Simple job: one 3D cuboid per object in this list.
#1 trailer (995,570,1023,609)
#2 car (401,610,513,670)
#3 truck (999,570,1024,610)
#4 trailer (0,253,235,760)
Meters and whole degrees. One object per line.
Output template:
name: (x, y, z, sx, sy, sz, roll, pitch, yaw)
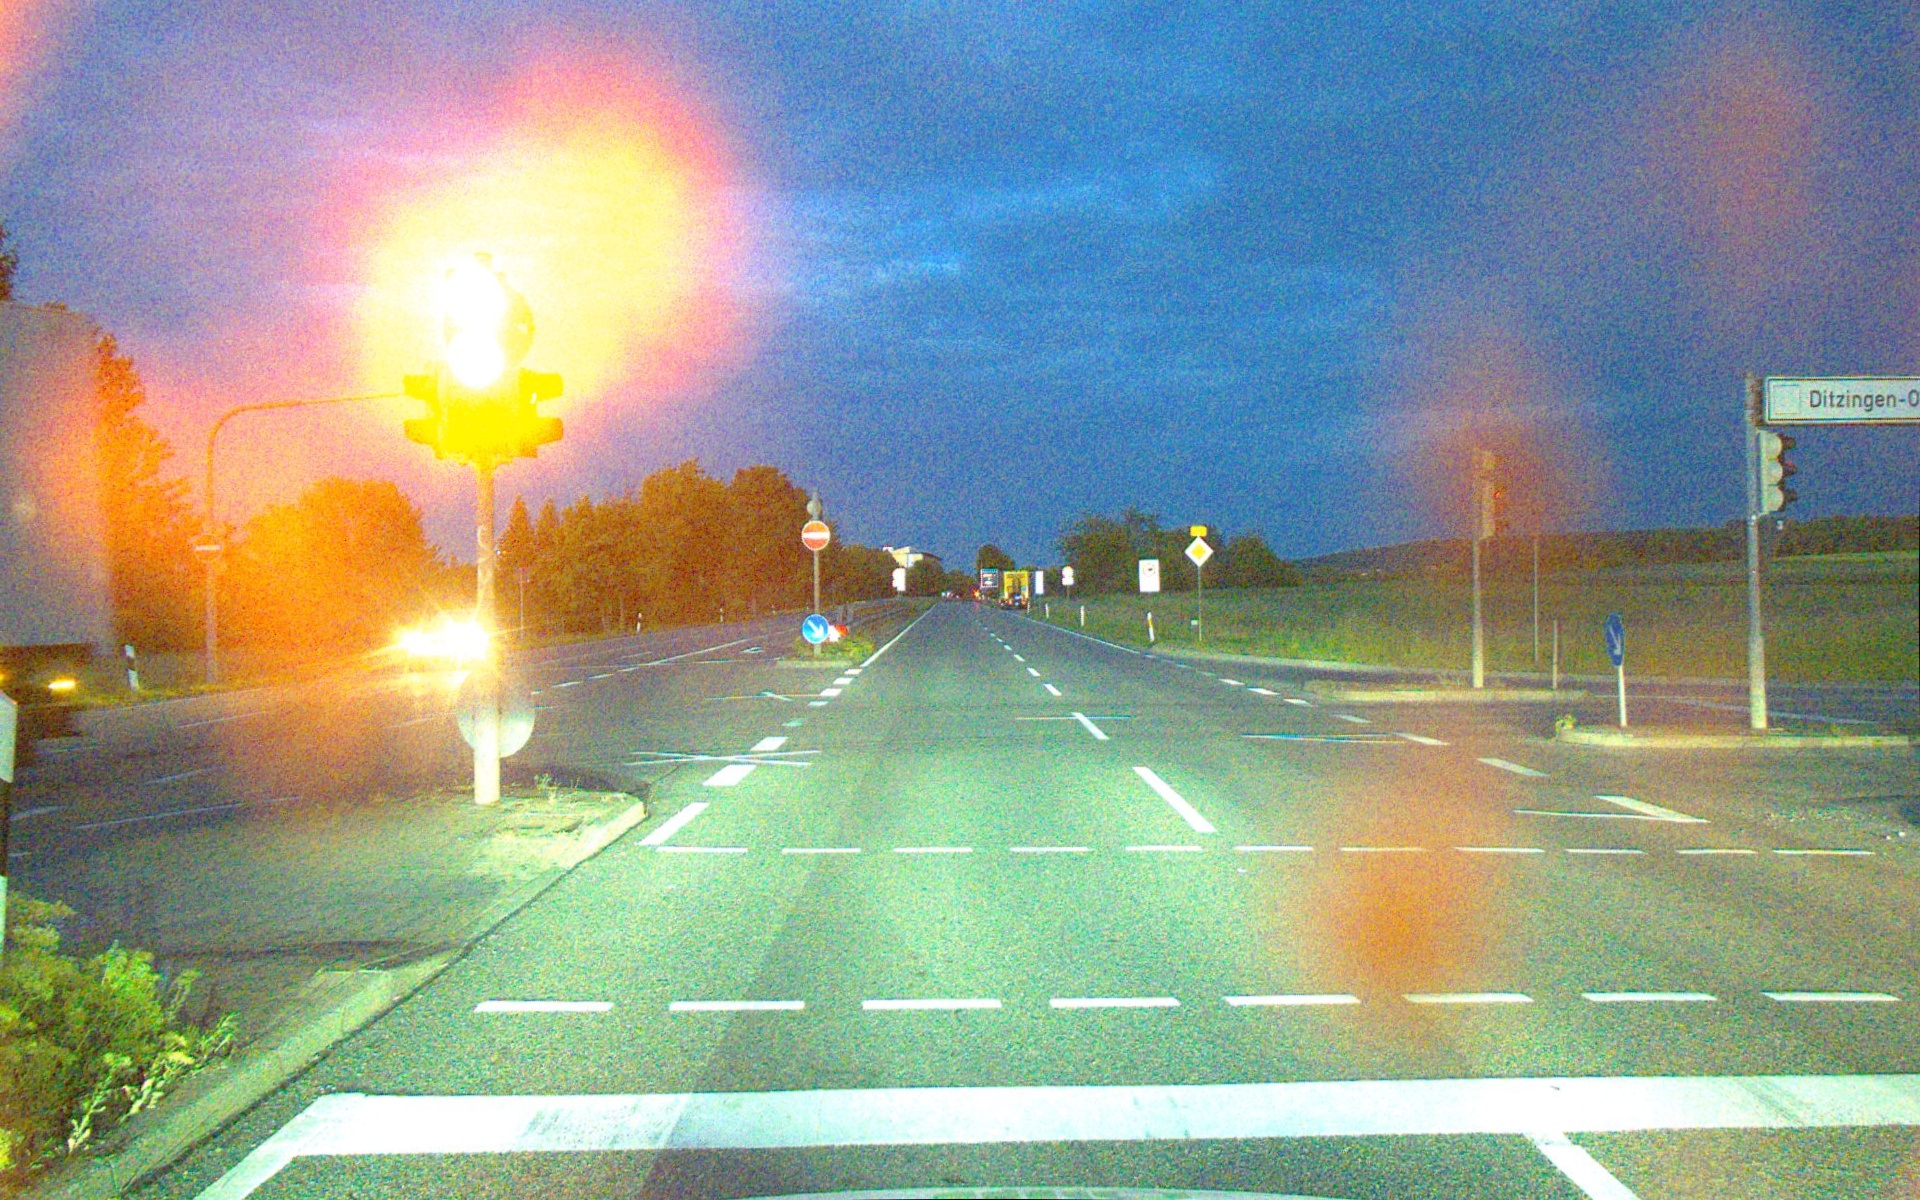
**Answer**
trailer: (5.320, -1.145, 181.962, 2.568, 4.175, 12.935, -1, 0, 0)
car: (-12.569, 0.966, 41.571, 1.618, 1.408, 4.029, 1, 0, -1)
truck: (5.411, -1.107, 175.205, 2.526, 4.142, 6.130, 1, 1, 0)
trailer: (-9.798, -0.682, 11.640, 2.528, 4.012, 8.864, -1, 0, 29)
